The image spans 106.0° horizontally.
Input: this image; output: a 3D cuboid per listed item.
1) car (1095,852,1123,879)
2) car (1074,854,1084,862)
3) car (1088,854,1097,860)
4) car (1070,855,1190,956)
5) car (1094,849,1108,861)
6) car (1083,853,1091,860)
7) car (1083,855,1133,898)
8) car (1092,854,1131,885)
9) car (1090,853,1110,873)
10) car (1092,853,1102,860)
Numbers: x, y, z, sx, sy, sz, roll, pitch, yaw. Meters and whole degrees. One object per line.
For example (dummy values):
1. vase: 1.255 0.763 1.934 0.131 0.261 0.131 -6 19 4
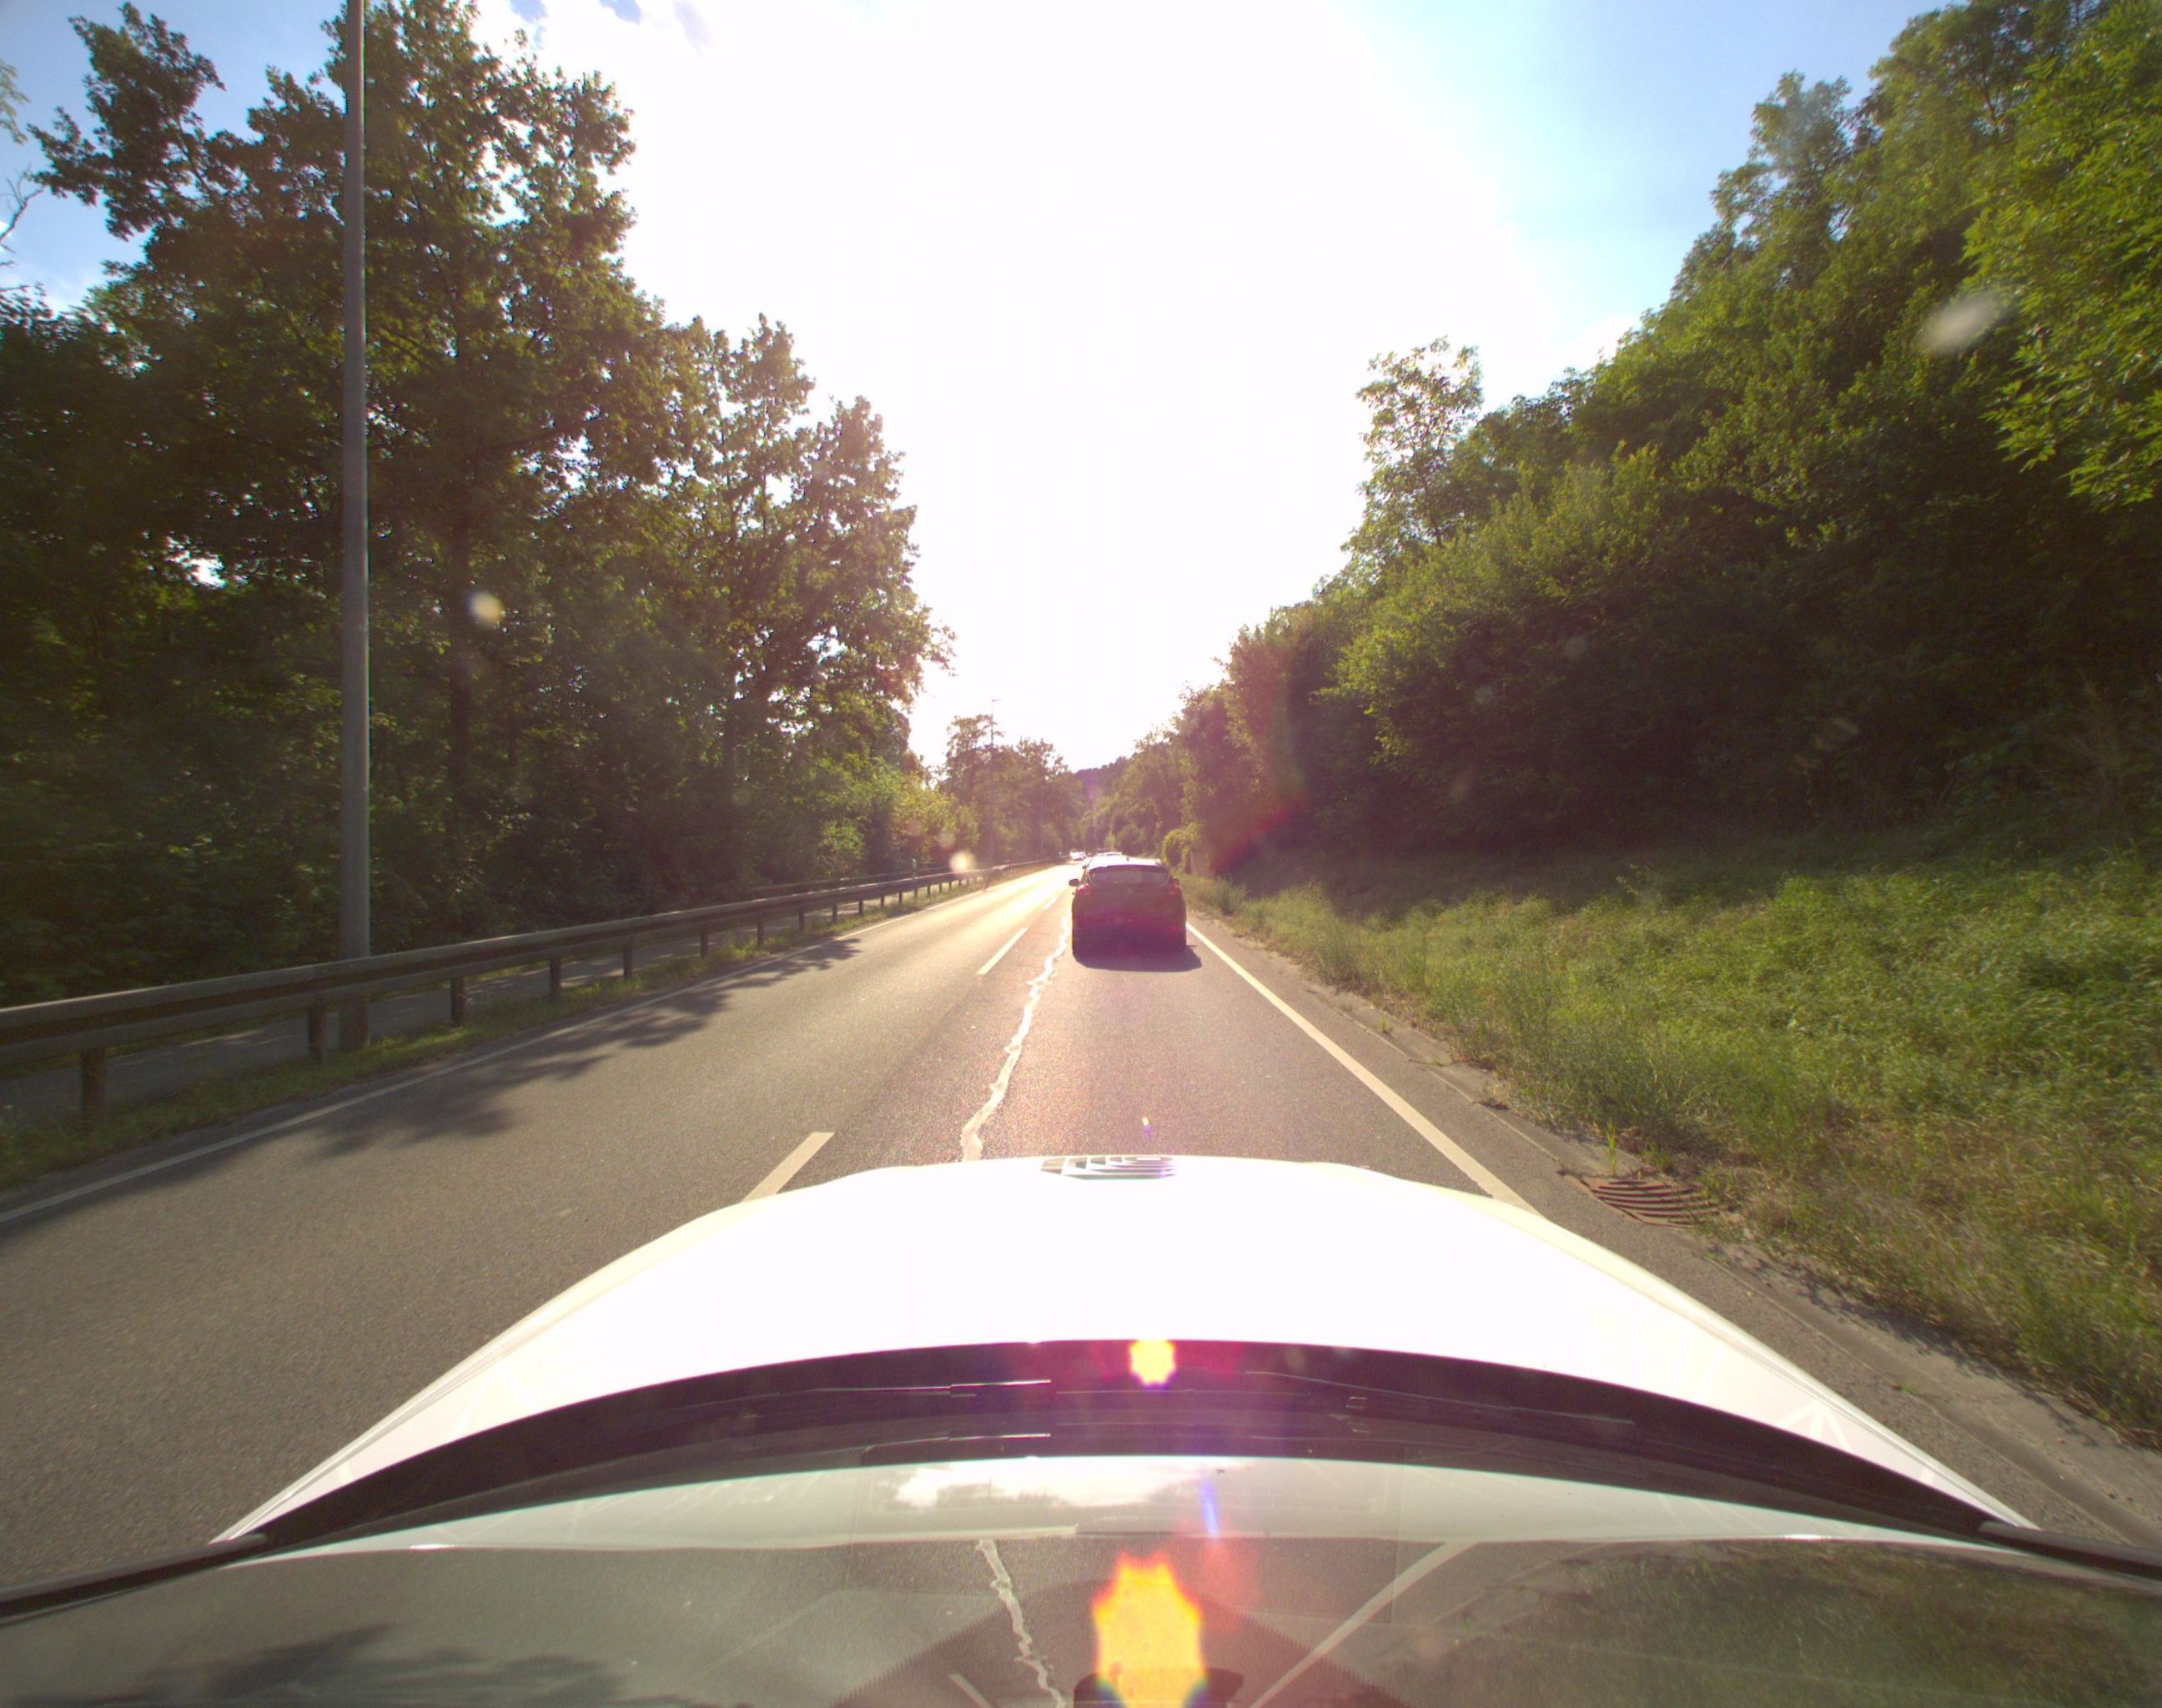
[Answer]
1. car: 1.688 0.678 49.846 1.624 1.596 4.002 -1 0 2
2. car: -0.370 0.672 138.055 1.617 1.377 4.048 -2 0 1
3. car: 3.116 0.757 222.677 1.991 1.519 3.992 -1 0 -6
4. car: 0.770 0.758 13.821 1.733 1.456 4.002 0 0 2
5. car: 3.038 0.198 122.281 1.858 1.780 3.997 -1 0 -2
6. car: 1.244 0.498 179.156 1.675 1.463 4.198 -1 0 1
7. car: 1.027 0.755 29.618 1.654 1.418 4.003 -1 0 3
8. car: 1.485 0.719 40.076 1.798 1.391 4.002 -1 0 2
9. car: 1.663 0.738 69.926 1.624 1.596 4.002 -1 0 2
10. car: 3.295 0.524 167.836 1.812 1.519 4.002 -1 0 2
